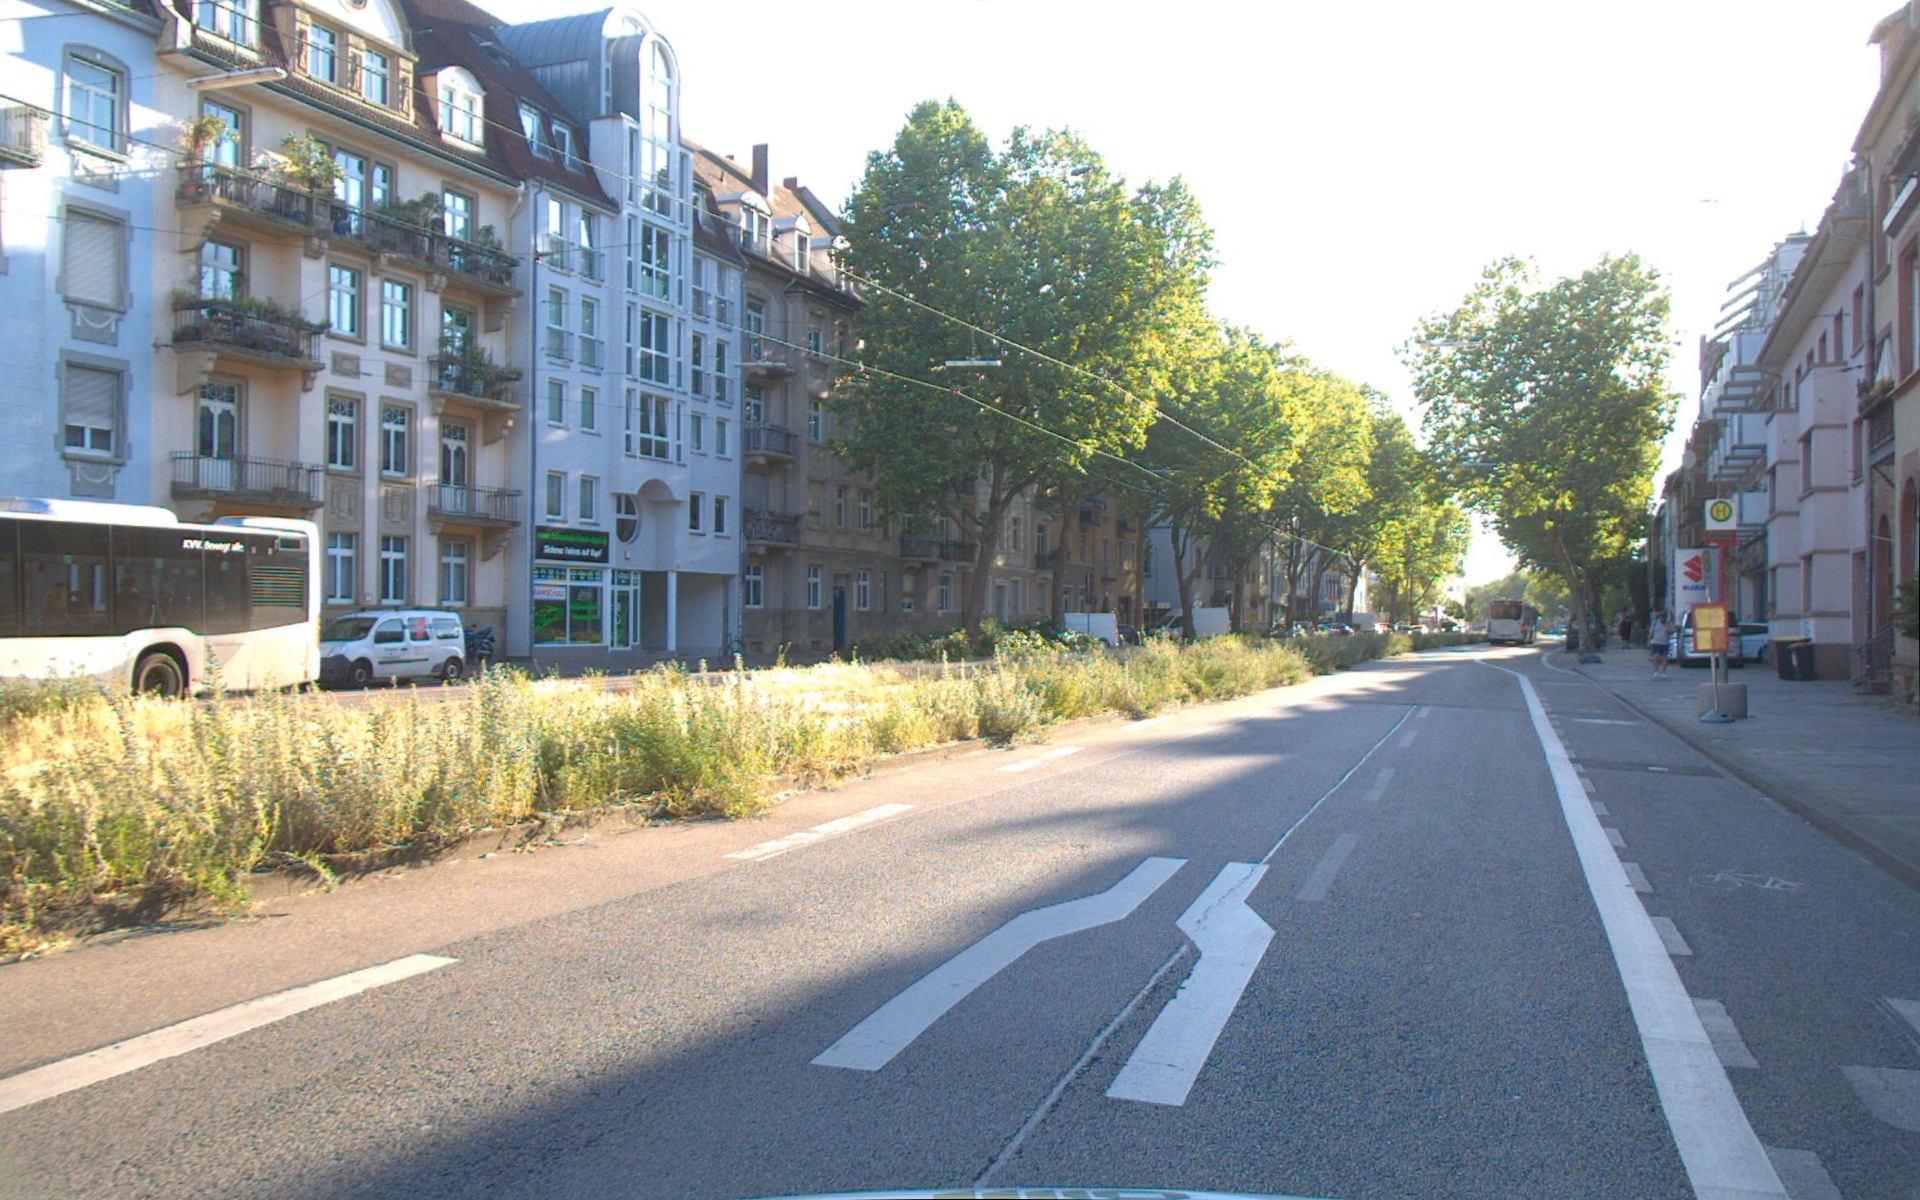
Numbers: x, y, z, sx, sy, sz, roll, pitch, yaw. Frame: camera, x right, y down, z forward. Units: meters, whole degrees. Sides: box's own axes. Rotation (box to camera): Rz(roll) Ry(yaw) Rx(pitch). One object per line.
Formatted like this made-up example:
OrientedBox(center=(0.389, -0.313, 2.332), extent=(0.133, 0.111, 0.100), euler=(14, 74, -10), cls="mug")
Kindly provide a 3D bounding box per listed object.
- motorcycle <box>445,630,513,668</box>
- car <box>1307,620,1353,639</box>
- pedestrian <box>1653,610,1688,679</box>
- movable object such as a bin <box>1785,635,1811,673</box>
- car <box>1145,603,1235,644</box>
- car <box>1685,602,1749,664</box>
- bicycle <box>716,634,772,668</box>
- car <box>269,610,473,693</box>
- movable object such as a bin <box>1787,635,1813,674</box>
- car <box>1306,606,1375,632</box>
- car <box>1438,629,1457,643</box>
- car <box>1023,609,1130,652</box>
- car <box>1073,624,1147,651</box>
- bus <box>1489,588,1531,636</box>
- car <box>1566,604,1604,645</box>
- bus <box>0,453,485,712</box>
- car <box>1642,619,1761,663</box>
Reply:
OrientedBox(center=(-13.979, 1.408, 48.117), extent=(0.517, 1.039, 2.420), euler=(2, 0, 20), cls="motorcycle")
OrientedBox(center=(35.569, 2.837, 159.084), extent=(3.915, 1.729, 1.852), euler=(-1, -1, -10), cls="car")
OrientedBox(center=(19.446, 1.212, 45.288), extent=(0.811, 1.844, 1.150), euler=(0, -2, 20), cls="pedestrian")
OrientedBox(center=(21.538, 1.383, 42.494), extent=(0.542, 0.986, 0.584), euler=(0, -2, 23), cls="movable object such as a bin")
OrientedBox(center=(14.786, 1.517, 106.449), extent=(5.411, 2.573, 2.113), euler=(0, -1, -21), cls="car")
OrientedBox(center=(25.584, 1.131, 56.000), extent=(1.854, 1.983, 4.897), euler=(0, -2, 24), cls="car")
OrientedBox(center=(-7.300, 1.733, 55.952), extent=(0.744, 1.050, 1.888), euler=(6, 2, 35), cls="bicycle")
OrientedBox(center=(-13.709, 1.193, 38.805), extent=(1.865, 1.818, 4.651), euler=(0, -2, 23), cls="car")
OrientedBox(center=(21.284, 1.375, 41.906), extent=(0.542, 0.986, 0.584), euler=(0, -2, 23), cls="movable object such as a bin")
OrientedBox(center=(40.039, 2.008, 174.047), extent=(6.794, 2.725, 2.185), euler=(0, -2, 1), cls="car")
OrientedBox(center=(59.633, 4.441, 202.188), extent=(1.831, 1.723, 4.775), euler=(0, -2, 22), cls="car")
OrientedBox(center=(5.832, 1.502, 82.910), extent=(5.154, 2.102, 1.711), euler=(0, -1, -21), cls="car")
OrientedBox(center=(8.073, 2.009, 88.993), extent=(3.663, 1.447, 1.711), euler=(0, -1, -21), cls="car")
OrientedBox(center=(39.429, 0.918, 118.507), extent=(2.774, 3.292, 8.184), euler=(0, -2, 19), cls="bus")
OrientedBox(center=(35.546, 1.431, 94.152), extent=(1.952, 2.297, 5.235), euler=(0, -2, 20), cls="car")
OrientedBox(center=(-12.704, -0.115, 26.365), extent=(3.188, 3.433, 11.975), euler=(0, -2, 22), cls="bus")
OrientedBox(center=(27.028, 1.474, 60.385), extent=(3.730, 1.527, 1.915), euler=(0, 0, 16), cls="car")
